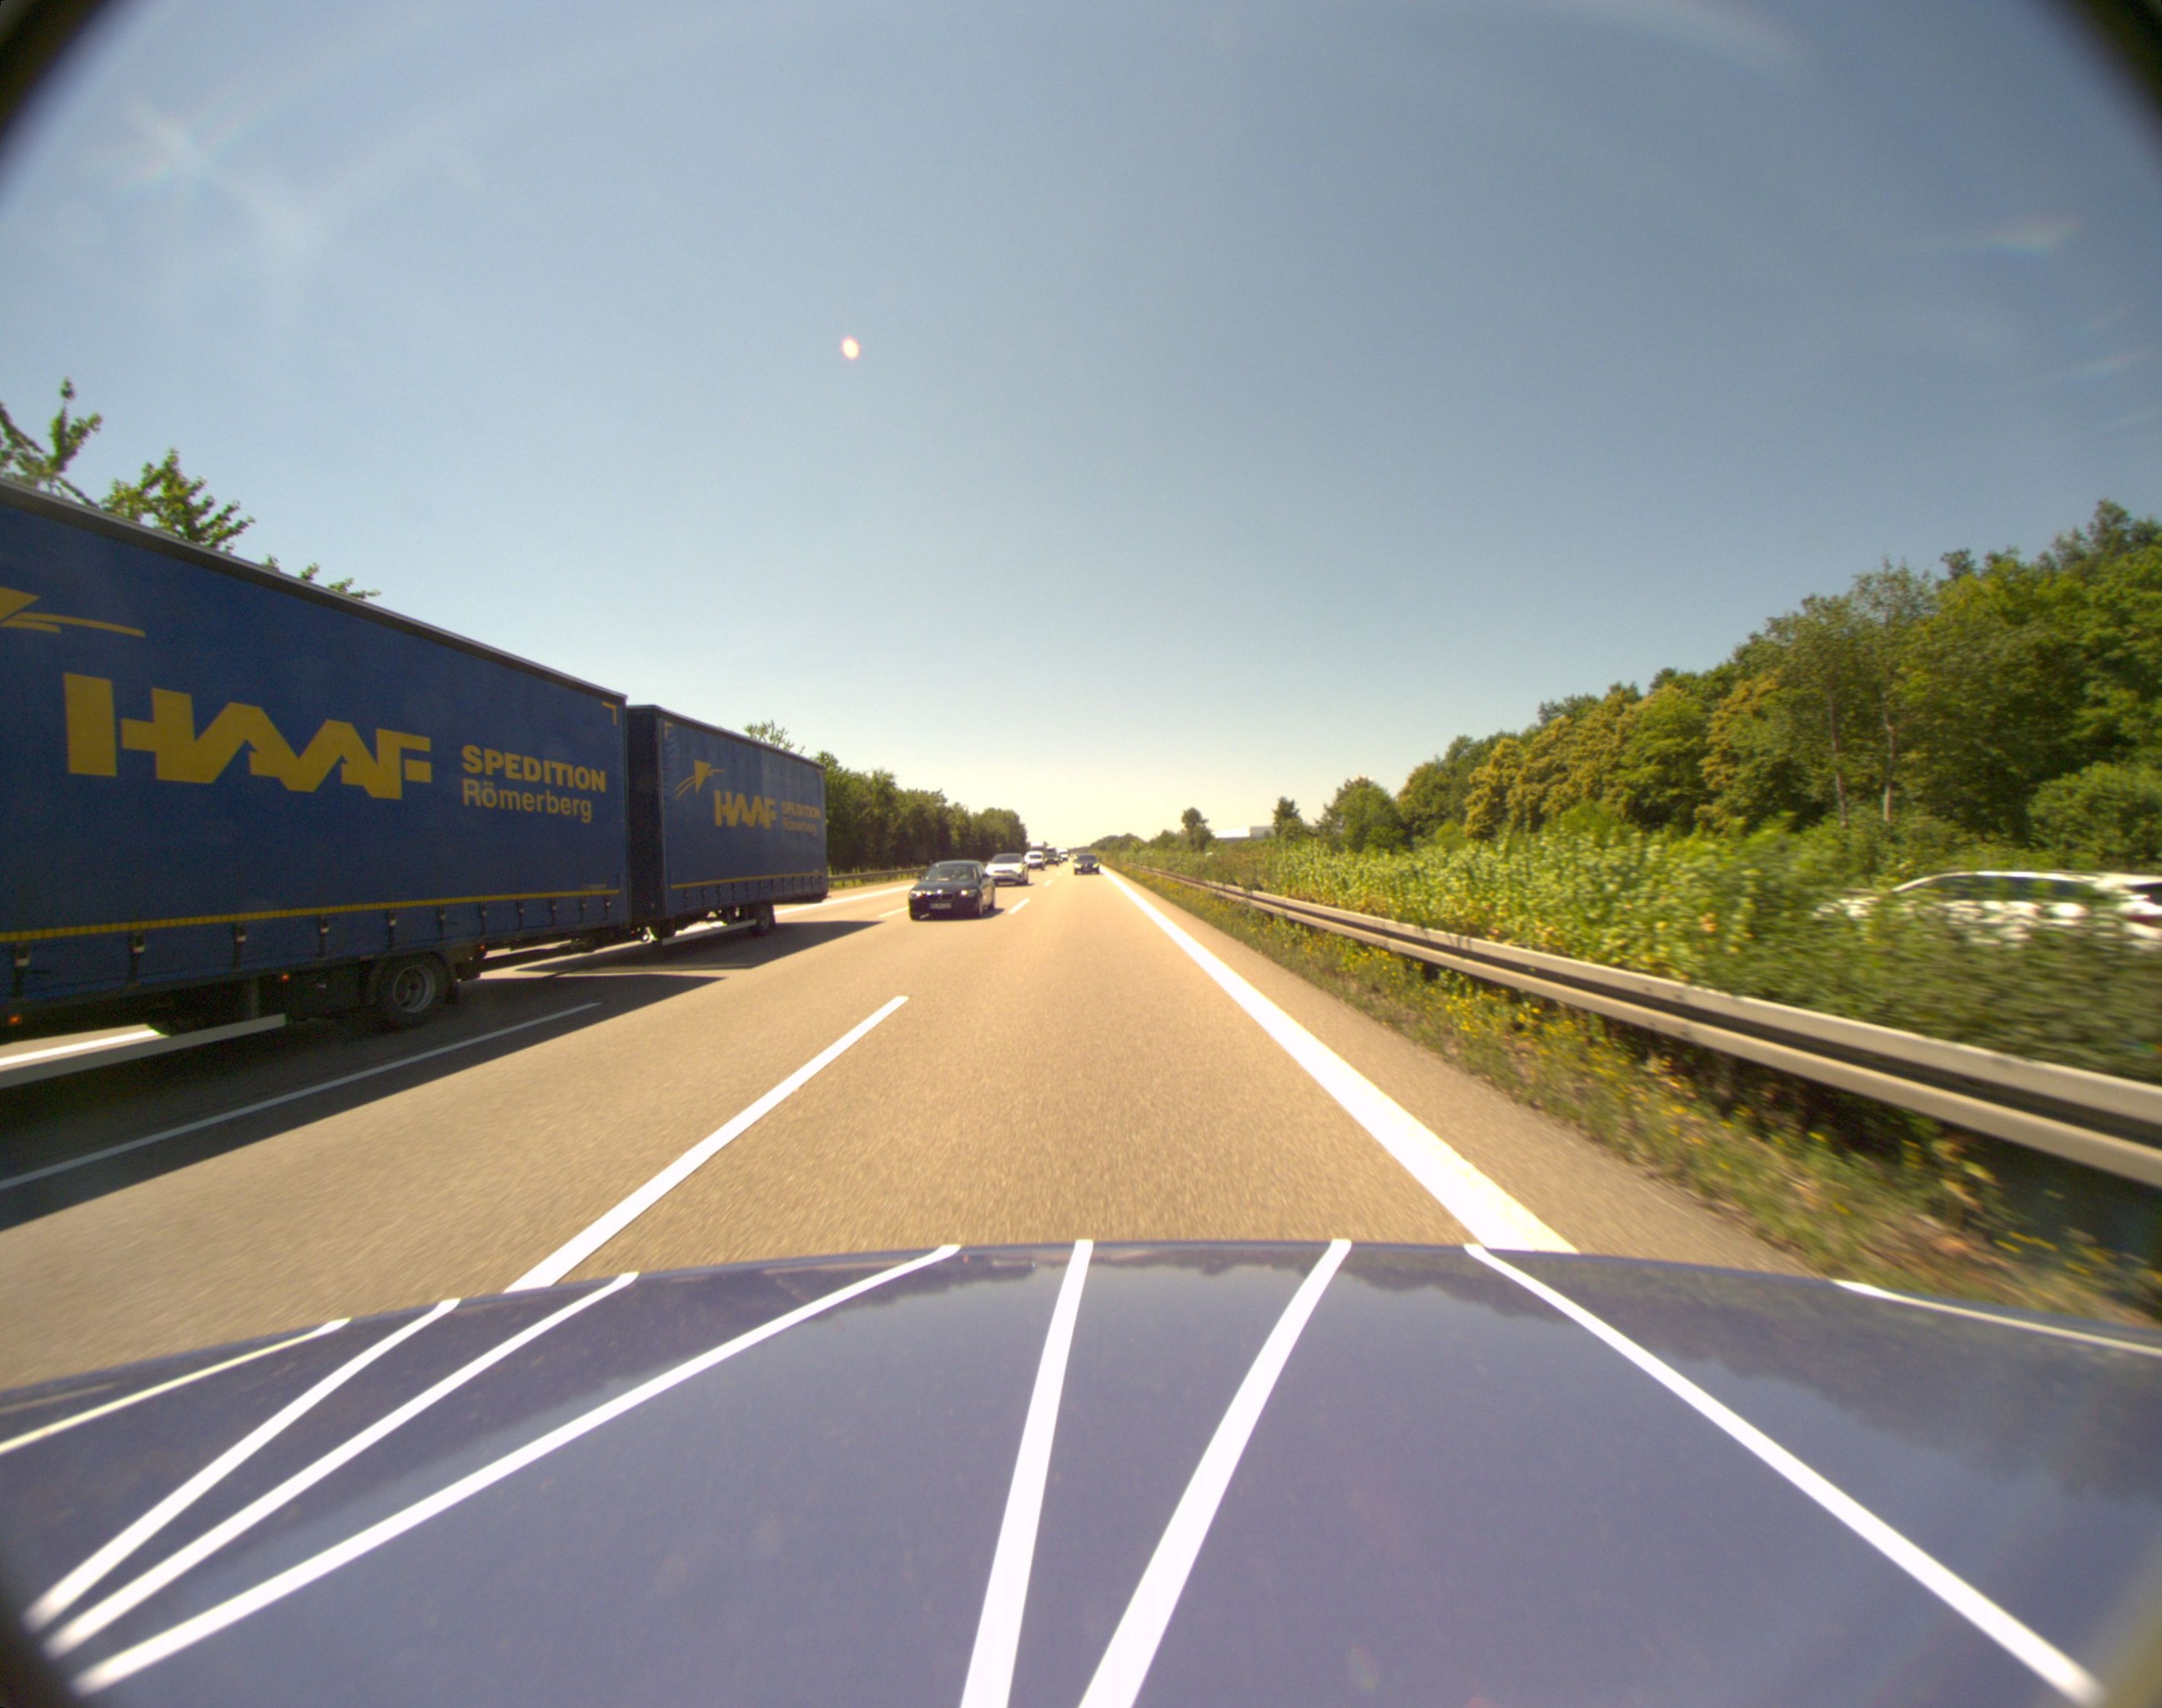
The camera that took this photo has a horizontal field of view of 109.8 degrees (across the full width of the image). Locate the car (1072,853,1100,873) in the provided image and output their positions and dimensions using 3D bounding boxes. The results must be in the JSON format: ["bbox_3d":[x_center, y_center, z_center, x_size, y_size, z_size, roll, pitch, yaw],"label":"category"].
[{"bbox_3d":[0.366,0.622,55.470,1.887,1.341,4.467,-1,0,0],"label":"car"}]

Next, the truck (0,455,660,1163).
[{"bbox_3d":[-7.768,-0.259,5.972,2.797,4.180,10.805,-1,0,0],"label":"truck"}]

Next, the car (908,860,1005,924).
[{"bbox_3d":[-3.193,0.927,20.360,1.841,1.409,4.497,-1,0,0],"label":"car"}]

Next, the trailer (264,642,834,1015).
[{"bbox_3d":[-7.763,-0.314,14.013,2.797,4.180,10.805,-1,0,0],"label":"trailer"}]

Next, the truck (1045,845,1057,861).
[{"bbox_3d":[-8.249,-0.318,211.651,2.797,4.180,10.805,-1,0,0],"label":"truck"}]

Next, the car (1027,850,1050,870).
[{"bbox_3d":[-4.064,0.575,73.199,1.887,1.861,4.467,-1,0,0],"label":"car"}]

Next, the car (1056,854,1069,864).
[{"bbox_3d":[-2.867,0.778,117.660,1.887,1.557,4.466,-1,0,-2],"label":"car"}]

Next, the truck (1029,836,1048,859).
[{"bbox_3d":[-8.131,-1.279,146.470,2.797,4.180,10.805,-1,0,0],"label":"truck"}]

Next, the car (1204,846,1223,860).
[{"bbox_3d":[17.049,-0.117,98.048,1.798,1.746,3.625,-1,1,0],"label":"car"}]

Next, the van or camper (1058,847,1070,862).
[{"bbox_3d":[-3.248,0.052,145.666,2.198,2.796,6.999,-1,0,0],"label":"van or camper"}]

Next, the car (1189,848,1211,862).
[{"bbox_3d":[13.116,0.067,83.909,1.798,1.420,3.999,-1,1,0],"label":"car"}]

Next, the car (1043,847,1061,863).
[{"bbox_3d":[-3.581,0.115,95.144,1.998,2.002,4.000,-1,1,1],"label":"car"}]

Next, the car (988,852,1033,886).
[{"bbox_3d":[-3.524,0.719,38.824,1.887,1.634,4.000,-1,0,0],"label":"car"}]
